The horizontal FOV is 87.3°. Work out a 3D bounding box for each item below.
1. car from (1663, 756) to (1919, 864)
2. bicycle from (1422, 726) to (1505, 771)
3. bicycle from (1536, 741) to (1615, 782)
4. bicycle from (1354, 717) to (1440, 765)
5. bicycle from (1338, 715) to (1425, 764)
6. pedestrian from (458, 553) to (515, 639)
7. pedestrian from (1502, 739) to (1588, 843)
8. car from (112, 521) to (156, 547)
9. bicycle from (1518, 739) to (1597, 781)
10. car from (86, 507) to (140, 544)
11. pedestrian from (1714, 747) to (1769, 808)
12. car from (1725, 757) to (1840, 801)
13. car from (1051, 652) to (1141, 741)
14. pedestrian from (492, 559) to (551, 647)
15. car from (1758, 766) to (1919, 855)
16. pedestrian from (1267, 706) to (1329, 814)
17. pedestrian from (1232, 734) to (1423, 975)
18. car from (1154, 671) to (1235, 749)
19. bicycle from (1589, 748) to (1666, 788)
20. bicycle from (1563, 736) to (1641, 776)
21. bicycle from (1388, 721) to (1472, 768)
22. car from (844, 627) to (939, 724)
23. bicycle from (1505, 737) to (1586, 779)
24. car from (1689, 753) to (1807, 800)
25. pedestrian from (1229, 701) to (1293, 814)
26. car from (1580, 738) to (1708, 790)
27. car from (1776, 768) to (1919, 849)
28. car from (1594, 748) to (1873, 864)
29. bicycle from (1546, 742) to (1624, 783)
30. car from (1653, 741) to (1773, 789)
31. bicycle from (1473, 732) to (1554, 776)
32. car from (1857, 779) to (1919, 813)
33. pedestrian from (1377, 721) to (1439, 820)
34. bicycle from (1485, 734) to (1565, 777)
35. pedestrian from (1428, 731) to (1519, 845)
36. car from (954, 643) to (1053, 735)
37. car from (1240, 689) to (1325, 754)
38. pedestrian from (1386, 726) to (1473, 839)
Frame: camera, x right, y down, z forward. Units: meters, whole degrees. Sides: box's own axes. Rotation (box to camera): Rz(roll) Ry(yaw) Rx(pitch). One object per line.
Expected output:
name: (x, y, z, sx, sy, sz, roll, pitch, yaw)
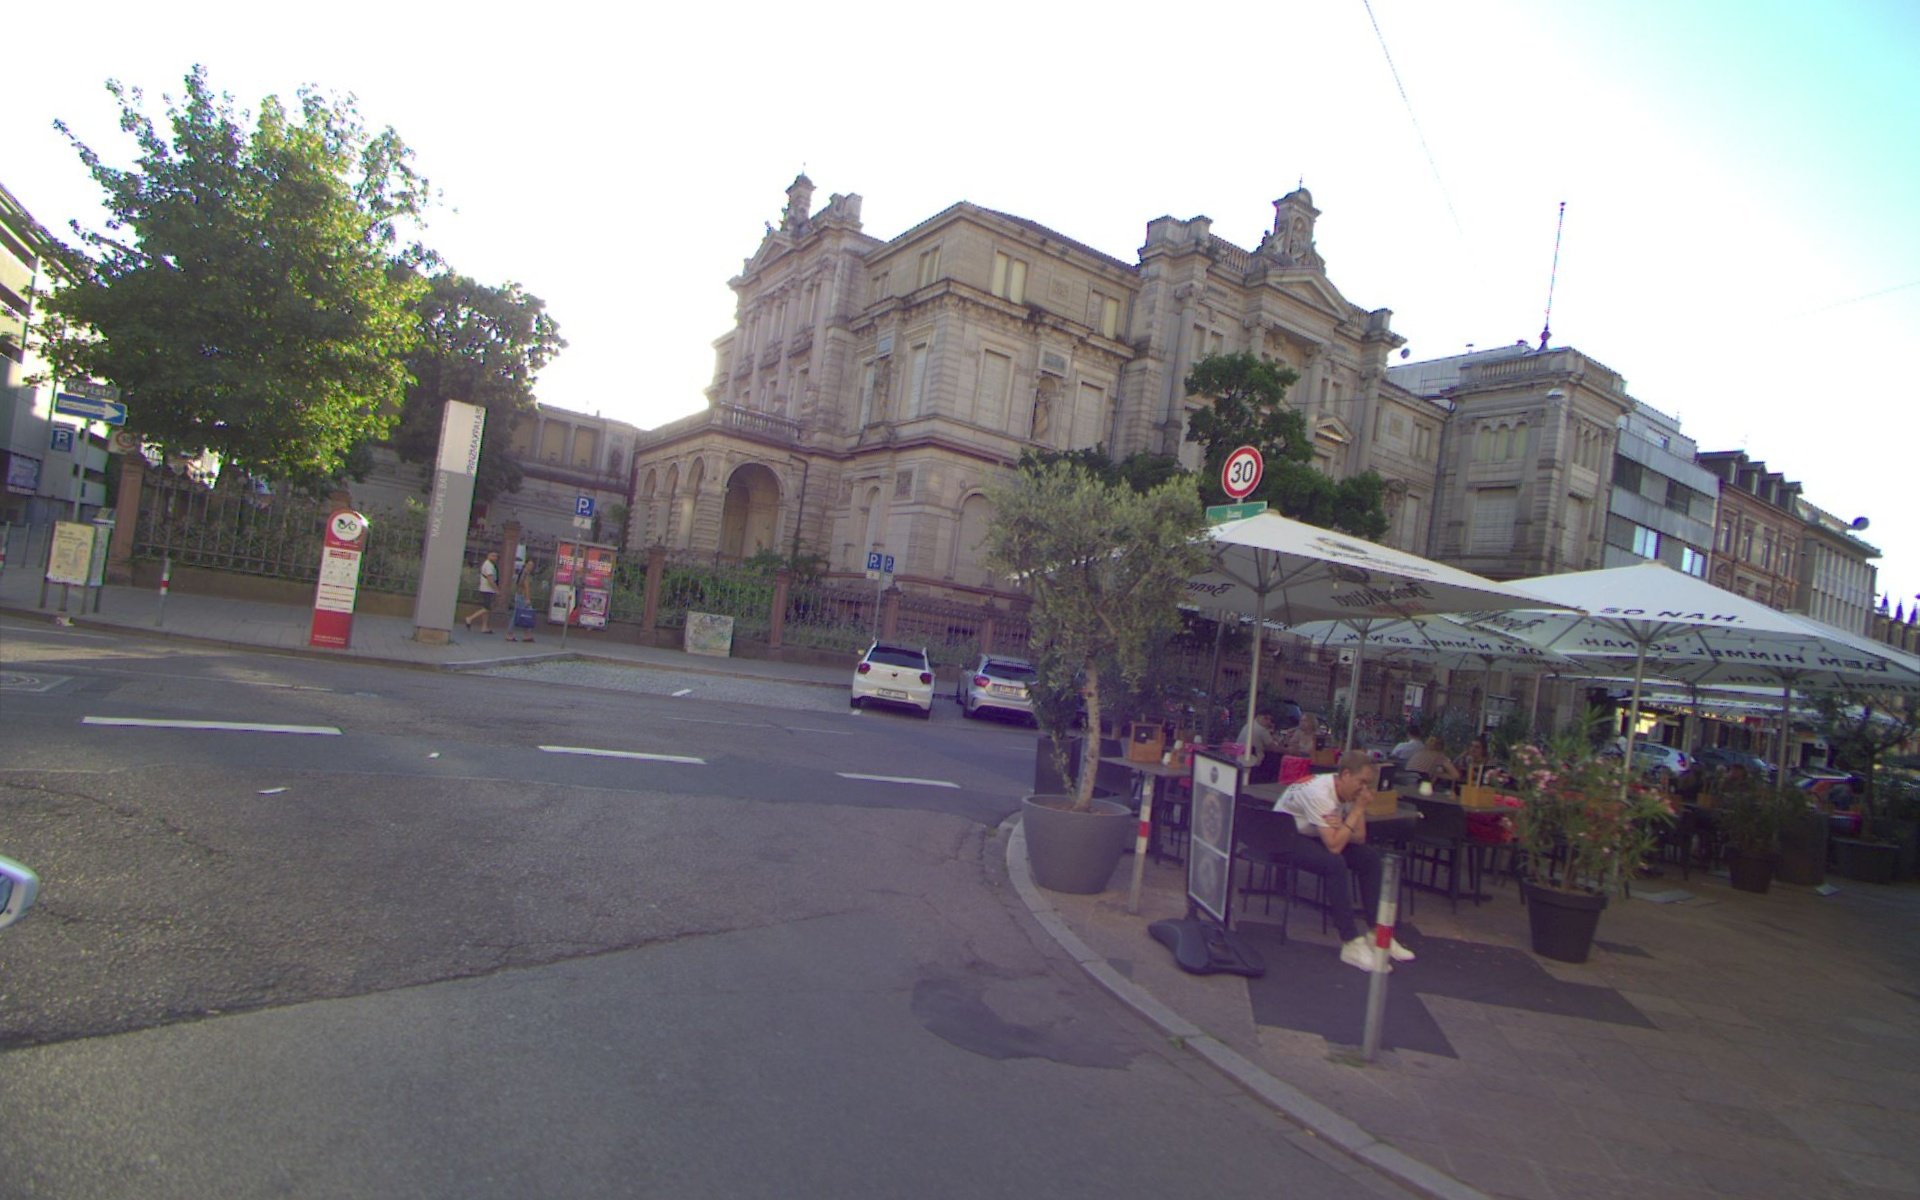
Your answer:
car: (17.787, 4.423, 21.600, 4.033, 1.428, 1.756, 6, -3, 25)
bicycle: (16.478, 4.849, 32.977, 0.711, 1.102, 2.281, 9, -3, -35)
bicycle: (22.433, 5.886, 36.718, 0.711, 1.102, 2.281, 9, -3, -35)
bicycle: (13.307, 4.283, 30.722, 0.711, 1.102, 2.281, 9, -3, -35)
bicycle: (12.648, 4.164, 30.233, 0.711, 1.102, 2.281, 9, -3, -35)
pedestrian: (-10.008, -0.083, 21.269, 0.634, 1.690, 0.702, 9, 0, 44)
pedestrian: (7.942, 2.587, 13.674, 0.677, 1.260, 0.598, 9, -1, -24)
car: (-59.936, -4.763, 73.055, 1.872, 1.469, 3.966, 9, -2, -33)
bicycle: (21.378, 5.701, 36.043, 0.711, 1.102, 2.281, 9, -3, -35)
car: (-53.613, -4.671, 63.770, 1.872, 1.933, 4.707, 9, -2, -33)
pedestrian: (25.439, 5.777, 32.750, 0.992, 1.770, 0.966, 8, -2, -30)
car: (40.616, 8.827, 49.778, 1.738, 1.428, 3.969, 9, -3, -31)
car: (3.284, 2.305, 24.938, 1.722, 1.741, 4.003, 7, -1, 4)
pedestrian: (-9.045, 0.064, 20.752, 0.634, 1.690, 0.702, 9, 0, 44)
car: (20.619, 4.799, 22.422, 3.996, 1.428, 1.756, 6, -3, 25)
pedestrian: (4.397, 2.062, 13.115, 0.589, 1.260, 0.687, 8, -1, 18)
pedestrian: (2.216, 1.479, 6.073, 0.809, 1.202, 0.606, 7, -2, 37)
car: (6.005, 2.785, 26.045, 1.722, 1.625, 4.007, 7, -3, 12)
bicycle: (25.744, 6.464, 38.822, 0.711, 1.102, 2.281, 9, -3, -35)
bicycle: (24.133, 5.850, 37.860, 0.711, 1.102, 2.281, 9, -3, -35)
bicycle: (14.888, 4.569, 31.912, 0.711, 1.102, 2.281, 9, -3, -35)
car: (-1.481, 1.574, 22.098, 1.724, 1.465, 3.904, 8, 2, -4)
bicycle: (20.658, 5.574, 35.546, 0.711, 1.102, 2.281, 9, -3, -35)
car: (37.280, 8.345, 47.664, 1.738, 1.428, 3.969, 9, -3, -31)
pedestrian: (3.743, 1.937, 12.510, 0.589, 1.260, 0.687, 8, -1, 18)
car: (28.420, 6.817, 41.938, 1.738, 1.428, 3.969, 9, -3, -31)
car: (22.713, 5.180, 24.390, 4.108, 1.428, 1.756, 6, -3, 25)
car: (15.202, 4.012, 20.065, 3.996, 1.428, 1.756, 6, -3, 25)
bicycle: (23.117, 6.009, 37.231, 0.711, 1.102, 2.281, 9, -3, -35)
car: (34.397, 7.526, 46.036, 1.738, 1.428, 3.969, 9, -3, -31)
bicycle: (18.959, 5.280, 34.512, 0.711, 1.102, 2.281, 9, -3, -35)
car: (55.510, 11.615, 58.943, 1.738, 1.428, 3.969, 9, -3, -31)
pedestrian: (6.346, 2.398, 14.282, 0.589, 1.260, 0.687, 8, -1, 18)
bicycle: (19.635, 5.402, 35.014, 0.711, 1.102, 2.281, 9, -3, -35)
pedestrian: (6.330, 2.312, 12.417, 0.679, 1.260, 0.596, 9, -1, -29)
car: (0.924, 1.997, 23.565, 1.724, 1.544, 3.996, 8, 0, -4)
car: (9.082, 3.385, 28.597, 1.722, 1.428, 4.007, 7, -3, 12)
pedestrian: (5.561, 2.157, 11.926, 0.567, 1.202, 0.596, 9, -1, -29)
